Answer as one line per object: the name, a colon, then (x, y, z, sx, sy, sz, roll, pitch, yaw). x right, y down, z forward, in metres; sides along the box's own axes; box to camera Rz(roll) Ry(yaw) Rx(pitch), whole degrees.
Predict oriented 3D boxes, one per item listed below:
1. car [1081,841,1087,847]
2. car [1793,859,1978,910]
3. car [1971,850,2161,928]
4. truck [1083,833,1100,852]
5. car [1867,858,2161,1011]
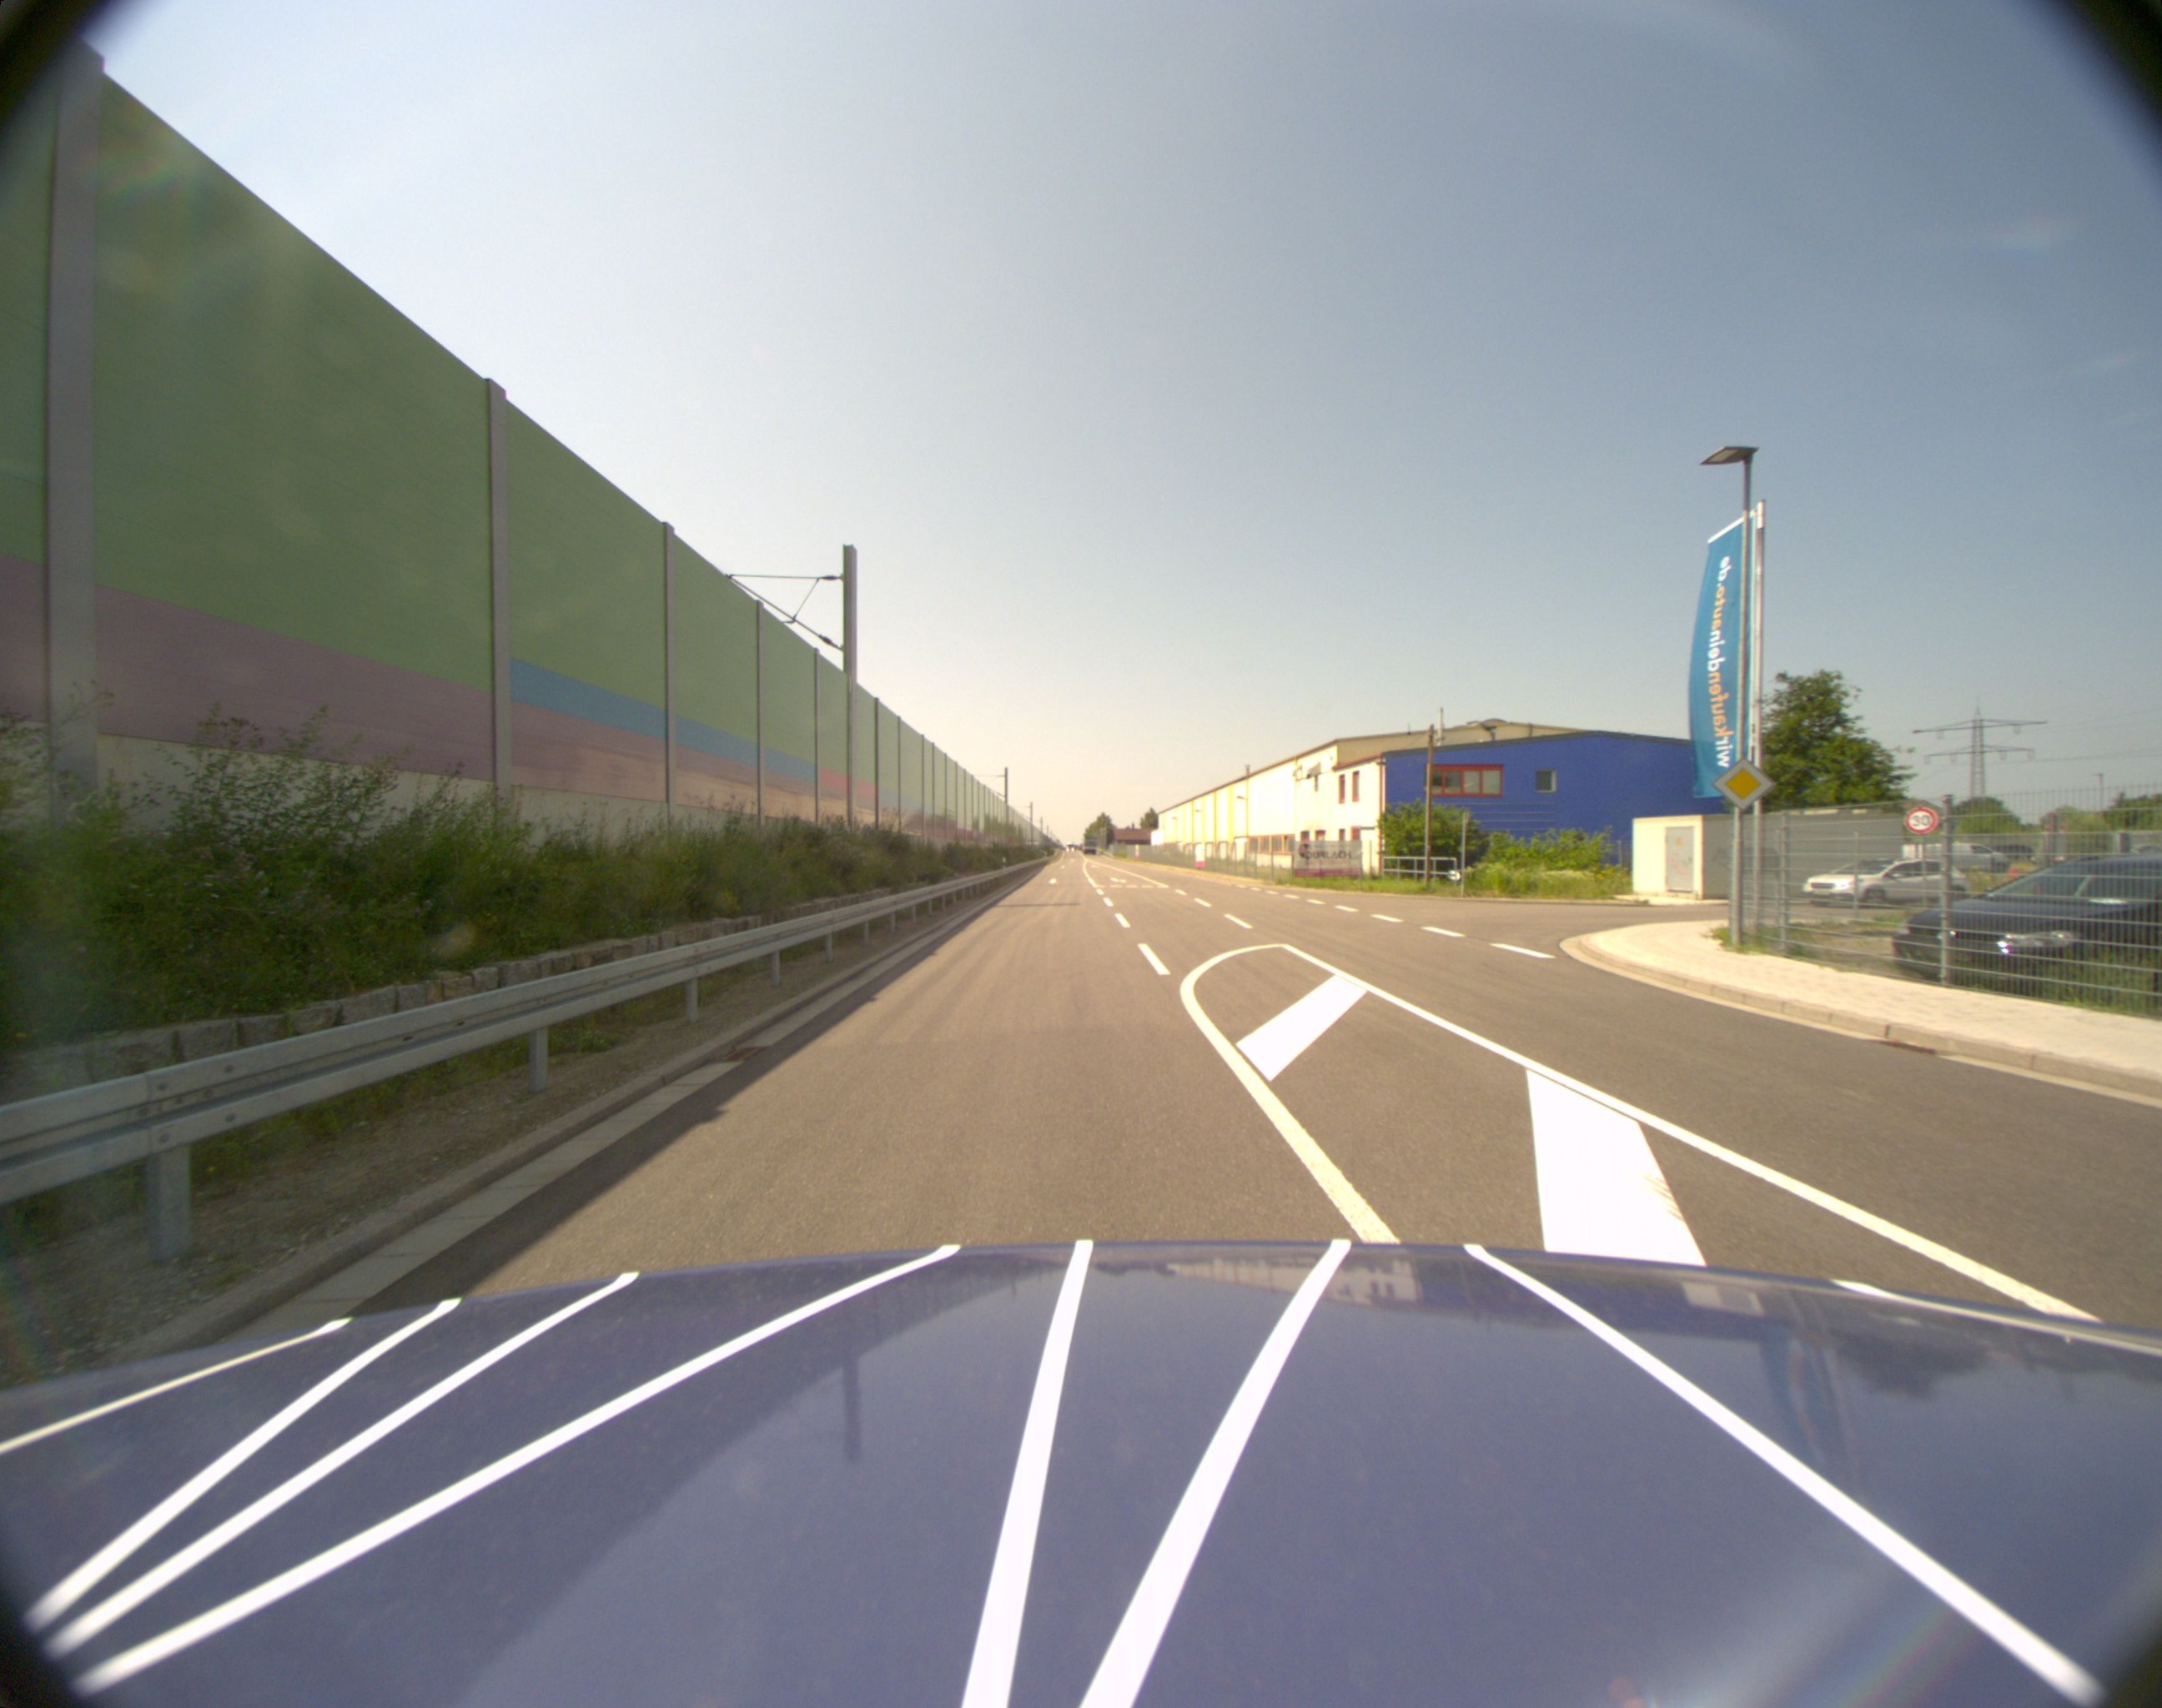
car: (1.065, -3.576, 261.228, 1.998, 2.002, 4.000, 0, 0, 0)
car: (25.185, 0.918, 23.866, 4.161, 1.494, 1.774, 0, 0, -5)
car: (21.660, 0.688, 15.719, 1.774, 1.493, 3.999, 0, 0, -2)
truck: (2.238, -2.462, 162.277, 3.563, 3.855, 11.414, 0, 0, 0)
car: (11.613, 0.805, 8.492, 3.998, 1.494, 1.774, 0, 0, -4)
